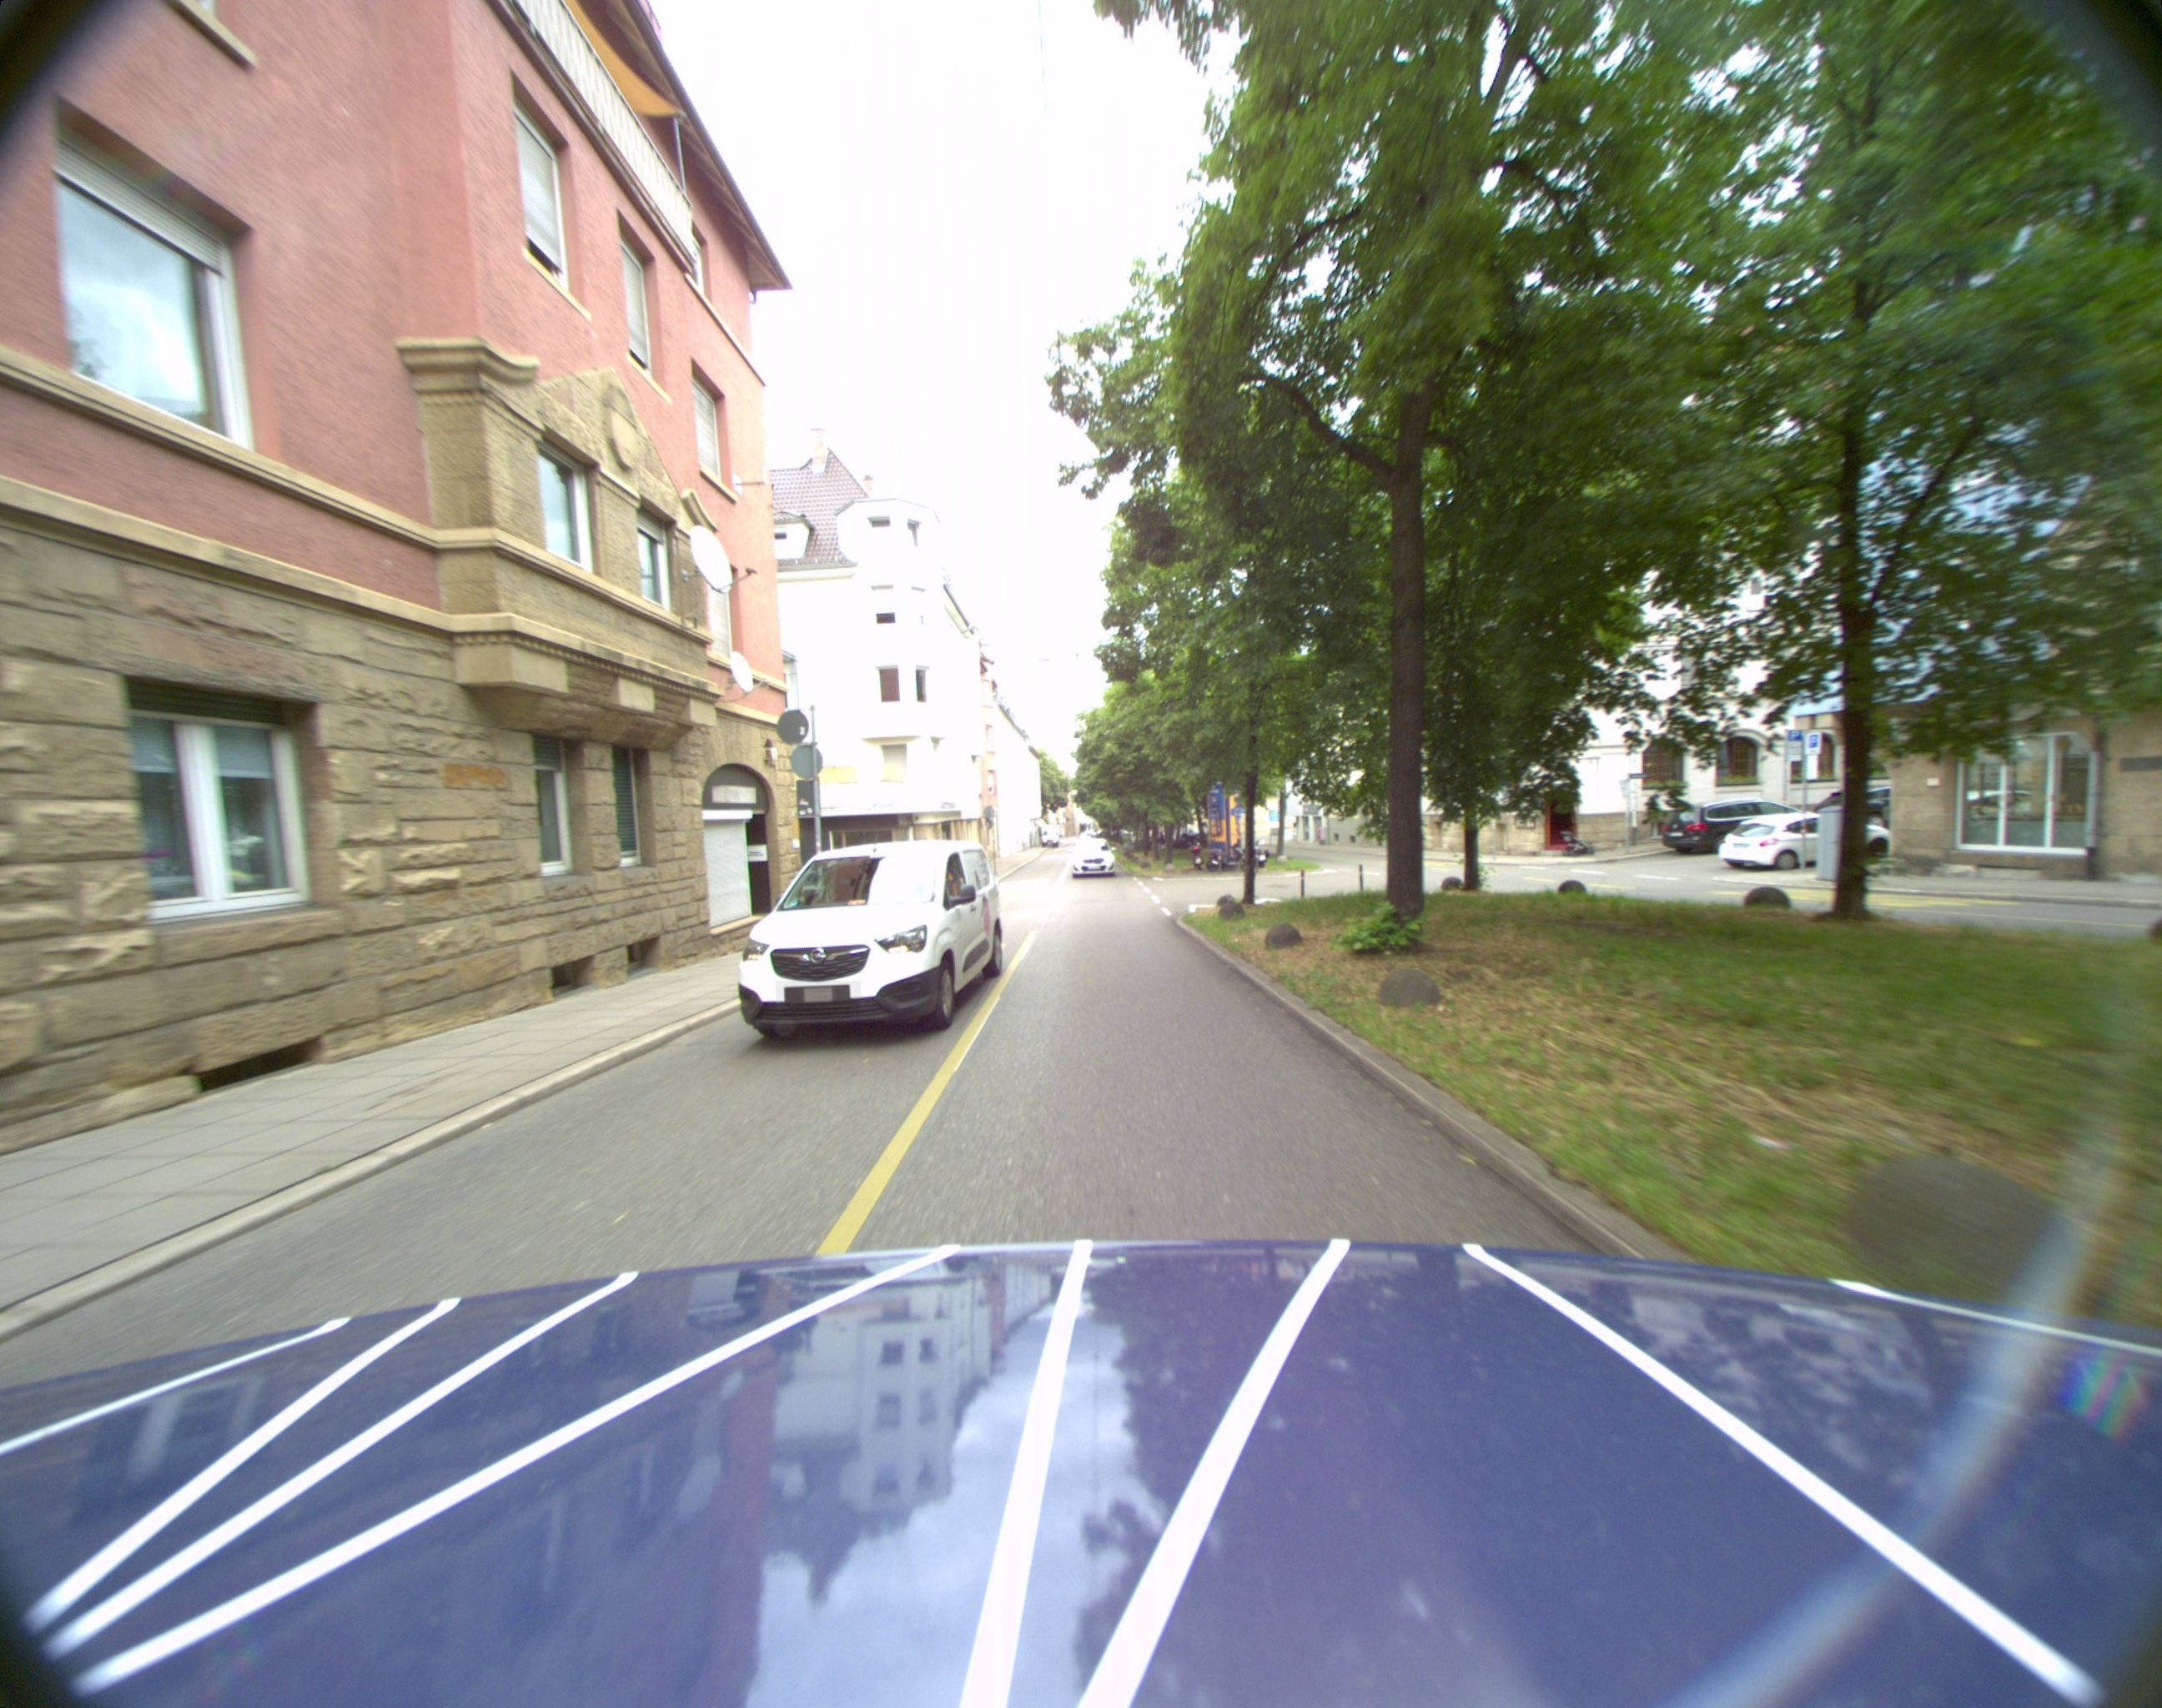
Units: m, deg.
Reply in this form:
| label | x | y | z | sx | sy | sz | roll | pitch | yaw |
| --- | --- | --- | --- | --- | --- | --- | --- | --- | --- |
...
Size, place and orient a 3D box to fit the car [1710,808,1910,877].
| label | x | y | z | sx | sy | sz | roll | pitch | yaw |
| --- | --- | --- | --- | --- | --- | --- | --- | --- | --- |
| car | 20.921 | -0.373 | 21.915 | 4.008 | 1.462 | 1.870 | -7 | 4 | -2 |

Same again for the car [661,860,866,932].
| label | x | y | z | sx | sy | sz | roll | pitch | yaw |
| --- | --- | --- | --- | --- | --- | --- | --- | --- | --- |
| car | -9.404 | 1.210 | 22.941 | 5.141 | 1.541 | 2.237 | -5 | 2 | -5 |

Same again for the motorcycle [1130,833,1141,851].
| label | x | y | z | sx | sy | sz | roll | pitch | yaw |
| --- | --- | --- | --- | --- | --- | --- | --- | --- | --- |
| motorcycle | 4.250 | -0.972 | 59.409 | 0.454 | 1.299 | 1.626 | -4 | 4 | -11 |

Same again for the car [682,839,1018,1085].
| label | x | y | z | sx | sy | sz | roll | pitch | yaw |
| --- | --- | --- | --- | --- | --- | --- | --- | --- | --- |
| car | -2.088 | 0.846 | 8.673 | 1.853 | 1.815 | 5.020 | -3 | 2 | 4 |

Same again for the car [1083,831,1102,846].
| label | x | y | z | sx | sy | sz | roll | pitch | yaw |
| --- | --- | --- | --- | --- | --- | --- | --- | --- | --- |
| car | 1.252 | -1.680 | 81.762 | 1.854 | 1.361 | 4.280 | -4 | 2 | 1 |

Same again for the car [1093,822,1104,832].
| label | x | y | z | sx | sy | sz | roll | pitch | yaw |
| --- | --- | --- | --- | --- | --- | --- | --- | --- | --- |
| car | 5.403 | -8.304 | 233.058 | 3.026 | 3.045 | 7.164 | -2 | 3 | -1 |

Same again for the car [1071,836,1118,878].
| label | x | y | z | sx | sy | sz | roll | pitch | yaw |
| --- | --- | --- | --- | --- | --- | --- | --- | --- | --- |
| car | 0.546 | 0.065 | 32.990 | 1.854 | 1.596 | 4.561 | -2 | 2 | 0 |

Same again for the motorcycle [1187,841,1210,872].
| label | x | y | z | sx | sy | sz | roll | pitch | yaw |
| --- | --- | --- | --- | --- | --- | --- | --- | --- | --- |
| motorcycle | 5.018 | 0.072 | 32.503 | 0.888 | 1.090 | 2.481 | -2 | 4 | 8 |

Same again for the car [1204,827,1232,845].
| label | x | y | z | sx | sy | sz | roll | pitch | yaw |
| --- | --- | --- | --- | --- | --- | --- | --- | --- | --- |
| car | 12.546 | -1.650 | 70.015 | 1.818 | 1.554 | 4.415 | -2 | 2 | 1 |

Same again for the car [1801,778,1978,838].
| label | x | y | z | sx | sy | sz | roll | pitch | yaw |
| --- | --- | --- | --- | --- | --- | --- | --- | --- | --- |
| car | 28.058 | -1.585 | 26.464 | 3.996 | 1.502 | 1.800 | -7 | 2 | 4 |

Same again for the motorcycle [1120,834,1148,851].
| label | x | y | z | sx | sy | sz | roll | pitch | yaw |
| --- | --- | --- | --- | --- | --- | --- | --- | --- | --- |
| motorcycle | 3.964 | -0.855 | 56.901 | 2.041 | 1.126 | 0.453 | -3 | 5 | 1 |

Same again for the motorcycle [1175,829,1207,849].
| label | x | y | z | sx | sy | sz | roll | pitch | yaw |
| --- | --- | --- | --- | --- | --- | --- | --- | --- | --- |
| motorcycle | 8.682 | -1.193 | 60.139 | 2.424 | 1.475 | 0.963 | -1 | 5 | 1 |

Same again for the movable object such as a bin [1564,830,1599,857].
| label | x | y | z | sx | sy | sz | roll | pitch | yaw |
| --- | --- | --- | --- | --- | --- | --- | --- | --- | --- |
| movable object such as a bin | 19.393 | -0.418 | 29.464 | 0.888 | 0.988 | 0.668 | -5 | 2 | -1 |

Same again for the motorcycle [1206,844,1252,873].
| label | x | y | z | sx | sy | sz | roll | pitch | yaw |
| --- | --- | --- | --- | --- | --- | --- | --- | --- | --- |
| motorcycle | 5.988 | 0.162 | 30.808 | 1.735 | 1.090 | 0.550 | -2 | 4 | 4 |

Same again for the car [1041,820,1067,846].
| label | x | y | z | sx | sy | sz | roll | pitch | yaw |
| --- | --- | --- | --- | --- | --- | --- | --- | --- | --- |
| car | -3.302 | -2.731 | 95.953 | 3.026 | 3.045 | 7.164 | -2 | 3 | -1 |

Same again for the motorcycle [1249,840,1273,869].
| label | x | y | z | sx | sy | sz | roll | pitch | yaw |
| --- | --- | --- | --- | --- | --- | --- | --- | --- | --- |
| motorcycle | 7.683 | -0.007 | 32.493 | 0.750 | 1.068 | 1.851 | -2 | 4 | 8 |

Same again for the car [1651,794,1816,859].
| label | x | y | z | sx | sy | sz | roll | pitch | yaw |
| --- | --- | --- | --- | --- | --- | --- | --- | --- | --- |
| car | 22.620 | -0.967 | 26.454 | 4.007 | 1.690 | 1.871 | -7 | 2 | 1 |
